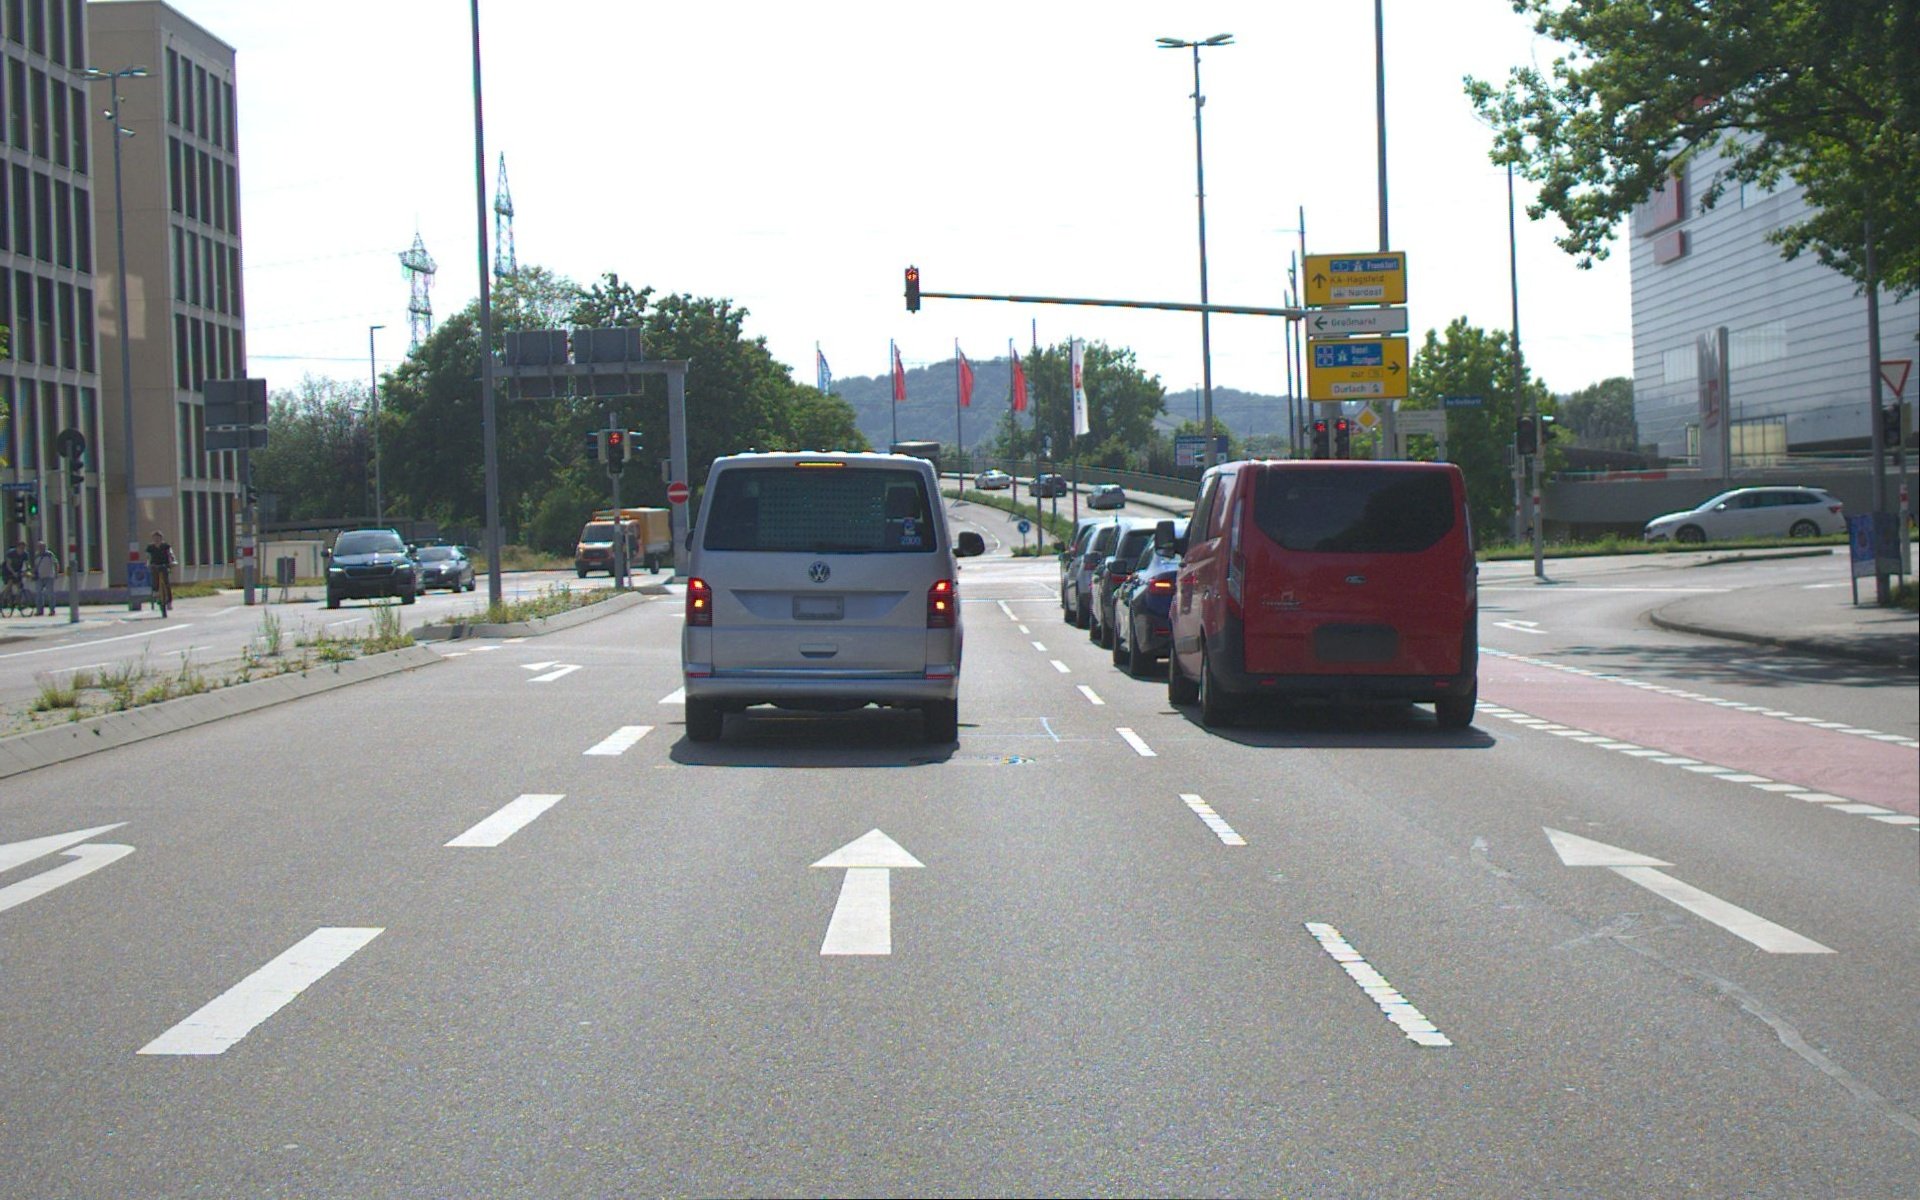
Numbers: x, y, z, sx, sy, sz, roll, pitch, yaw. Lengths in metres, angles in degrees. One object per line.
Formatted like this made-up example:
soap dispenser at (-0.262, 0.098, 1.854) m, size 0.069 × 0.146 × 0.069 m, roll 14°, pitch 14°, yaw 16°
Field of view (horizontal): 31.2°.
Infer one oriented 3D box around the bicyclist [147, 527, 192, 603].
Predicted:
bicyclist at (-16.248, -0.730, 70.690) m, size 0.618 × 1.521 × 1.036 m, roll -3°, pitch 1°, yaw 0°

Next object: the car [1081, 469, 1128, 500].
car at (9.604, -7.696, 229.419) m, size 1.993 × 2.007 × 4.001 m, roll -1°, pitch 1°, yaw -16°

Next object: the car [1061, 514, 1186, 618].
car at (2.349, -0.522, 50.008) m, size 1.578 × 1.453 × 3.786 m, roll 0°, pitch 1°, yaw -1°

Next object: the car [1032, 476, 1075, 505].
car at (6.646, -7.799, 245.446) m, size 1.993 × 2.007 × 4.001 m, roll -1°, pitch 1°, yaw -16°

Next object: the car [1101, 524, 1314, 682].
car at (2.410, -0.022, 34.423) m, size 1.746 × 1.453 × 4.476 m, roll 0°, pitch 1°, yaw -1°

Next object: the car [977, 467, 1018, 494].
car at (2.817, -8.972, 257.797) m, size 1.993 × 2.007 × 4.001 m, roll -1°, pitch 1°, yaw -16°

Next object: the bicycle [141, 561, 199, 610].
bicycle at (-16.254, -0.302, 70.770) m, size 0.680 × 0.937 × 1.973 m, roll -2°, pitch 1°, yaw 0°

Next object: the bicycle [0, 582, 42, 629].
bicycle at (-21.904, 0.128, 80.042) m, size 0.585 × 1.047 × 1.876 m, roll -1°, pitch 1°, yaw -1°

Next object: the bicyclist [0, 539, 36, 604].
bicyclist at (-21.941, -0.667, 79.964) m, size 0.630 × 1.496 × 1.028 m, roll -1°, pitch 1°, yaw -1°

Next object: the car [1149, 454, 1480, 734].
car at (2.636, -0.104, 26.755) m, size 1.967 × 1.961 × 5.126 m, roll 0°, pitch 1°, yaw -1°

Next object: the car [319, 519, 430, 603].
car at (-12.486, -0.859, 73.563) m, size 1.738 × 1.613 × 4.210 m, roll -4°, pitch 1°, yaw -3°

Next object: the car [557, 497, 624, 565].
car at (-14.713, -2.757, 137.221) m, size 2.405 × 2.552 × 6.897 m, roll -2°, pitch 1°, yaw -5°

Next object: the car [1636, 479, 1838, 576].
car at (18.477, -1.720, 81.878) m, size 4.402 × 1.987 × 1.481 m, roll -4°, pitch 1°, yaw 4°

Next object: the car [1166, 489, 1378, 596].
car at (6.757, -1.252, 74.757) m, size 4.402 × 1.987 × 1.481 m, roll -4°, pitch 1°, yaw 2°

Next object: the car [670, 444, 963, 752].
car at (-0.952, -0.062, 24.278) m, size 1.884 × 1.983 × 4.000 m, roll 0°, pitch 1°, yaw -1°

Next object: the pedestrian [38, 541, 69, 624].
pedestrian at (-22.076, -0.425, 83.710) m, size 0.558 × 2.007 × 0.576 m, roll 0°, pitch 1°, yaw 4°

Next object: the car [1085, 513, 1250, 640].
car at (2.539, -0.329, 42.889) m, size 1.746 × 1.511 × 4.078 m, roll 0°, pitch 1°, yaw -1°

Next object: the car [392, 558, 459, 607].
car at (-16.726, -0.553, 107.674) m, size 1.576 × 1.404 × 4.380 m, roll -2°, pitch 1°, yaw -3°
